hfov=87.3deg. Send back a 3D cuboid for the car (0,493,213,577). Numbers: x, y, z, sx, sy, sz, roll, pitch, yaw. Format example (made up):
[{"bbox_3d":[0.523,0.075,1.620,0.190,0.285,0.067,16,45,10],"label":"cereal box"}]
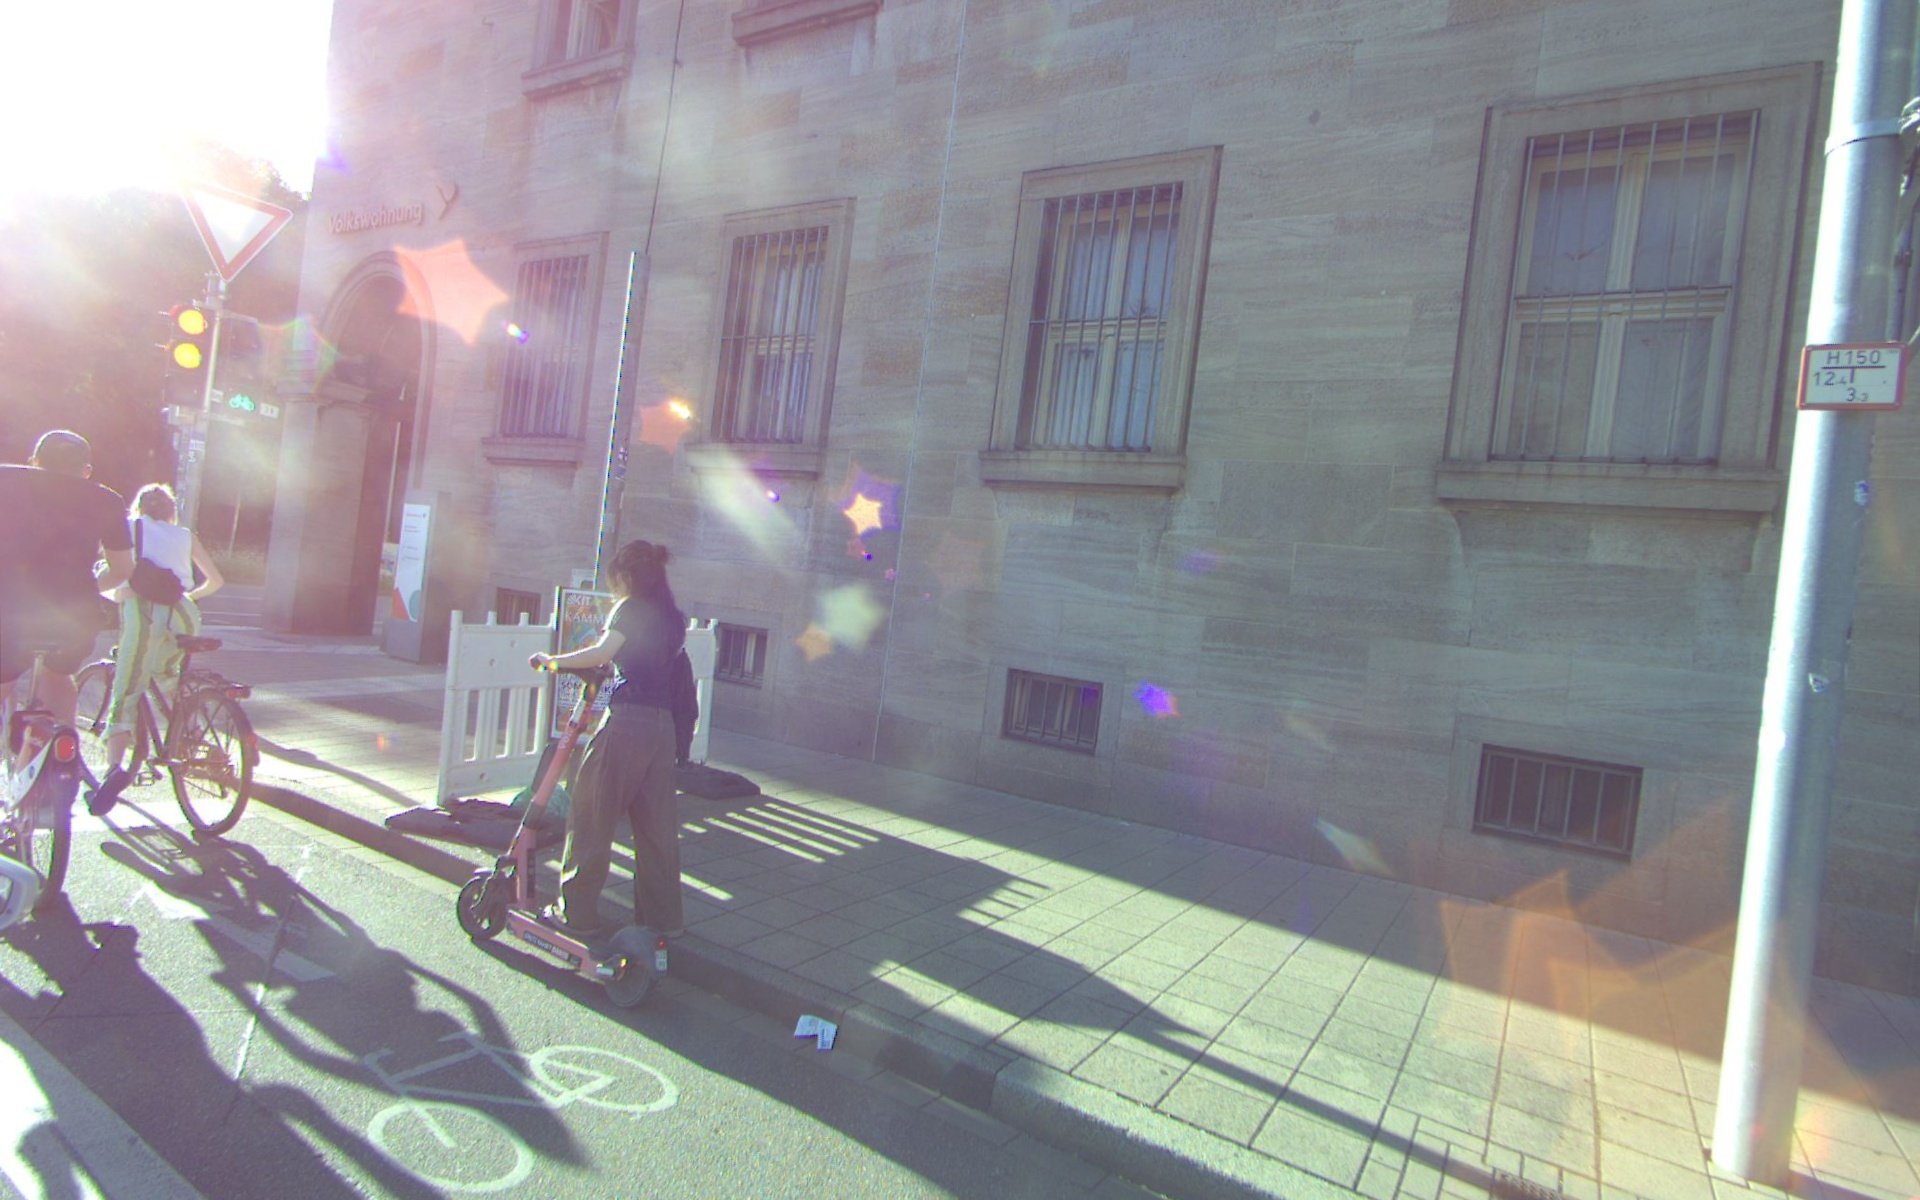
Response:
[{"bbox_3d":[-23.470,-1.746,27.338,1.967,1.533,4.586,6,-2,32],"label":"car"}]

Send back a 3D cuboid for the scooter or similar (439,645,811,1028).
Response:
[{"bbox_3d":[-1.329,0.842,3.970,1.250,1.163,0.574,6,0,27],"label":"scooter or similar"}]

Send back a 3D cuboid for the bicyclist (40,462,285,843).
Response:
[{"bbox_3d":[-4.105,0.235,5.176,0.935,1.760,0.584,7,0,33],"label":"bicyclist"}]

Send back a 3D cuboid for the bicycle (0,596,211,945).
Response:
[{"bbox_3d":[-3.838,0.580,4.052,1.717,1.057,0.624,7,0,31],"label":"bicycle"}]

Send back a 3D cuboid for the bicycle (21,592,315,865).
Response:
[{"bbox_3d":[-4.094,0.588,5.159,1.718,1.057,0.582,7,0,33],"label":"bicycle"}]

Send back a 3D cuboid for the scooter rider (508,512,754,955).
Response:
[{"bbox_3d":[-1.287,0.500,4.016,0.566,1.581,0.547,7,0,11],"label":"scooter rider"}]

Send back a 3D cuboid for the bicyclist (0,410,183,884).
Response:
[{"bbox_3d":[-3.796,0.157,4.058,0.897,1.736,0.624,7,0,31],"label":"bicyclist"}]

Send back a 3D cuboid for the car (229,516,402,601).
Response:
[{"bbox_3d":[-20.269,-1.256,31.793,1.968,2.037,3.994,6,-2,33],"label":"car"}]
